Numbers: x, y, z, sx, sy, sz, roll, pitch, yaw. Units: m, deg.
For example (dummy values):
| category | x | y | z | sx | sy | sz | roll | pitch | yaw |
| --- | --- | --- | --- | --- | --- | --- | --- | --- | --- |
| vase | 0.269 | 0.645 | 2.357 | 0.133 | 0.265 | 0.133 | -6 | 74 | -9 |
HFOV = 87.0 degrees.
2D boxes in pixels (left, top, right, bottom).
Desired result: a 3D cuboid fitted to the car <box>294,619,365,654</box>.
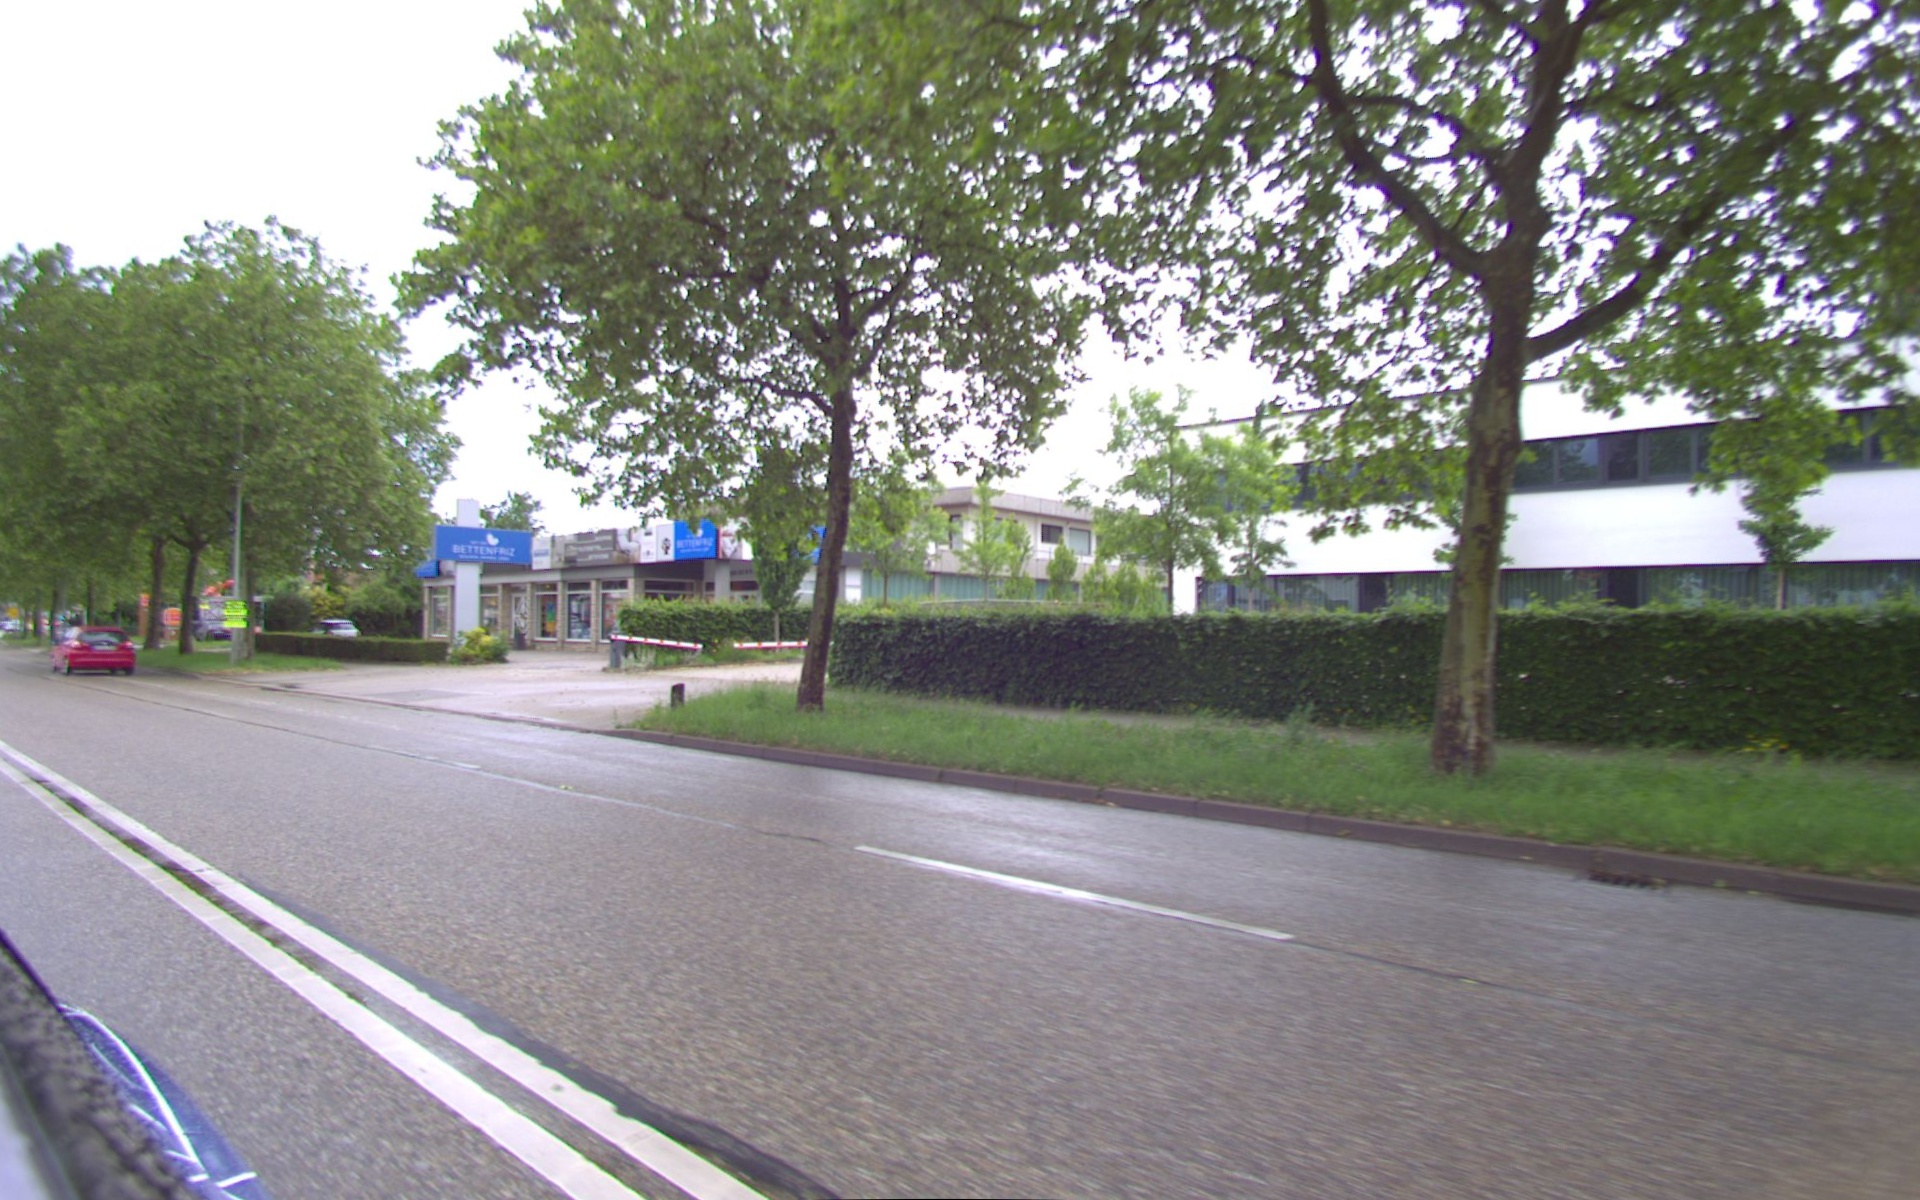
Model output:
| category | x | y | z | sx | sy | sz | roll | pitch | yaw |
| --- | --- | --- | --- | --- | --- | --- | --- | --- | --- |
| car | -29.670 | 1.700 | 47.583 | 3.999 | 1.545 | 1.723 | -1 | -4 | 42 |

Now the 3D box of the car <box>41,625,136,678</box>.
| category | x | y | z | sx | sy | sz | roll | pitch | yaw |
| --- | --- | --- | --- | --- | --- | --- | --- | --- | --- |
| car | -27.528 | 1.598 | 31.928 | 3.999 | 1.545 | 1.723 | -1 | -4 | 42 |
